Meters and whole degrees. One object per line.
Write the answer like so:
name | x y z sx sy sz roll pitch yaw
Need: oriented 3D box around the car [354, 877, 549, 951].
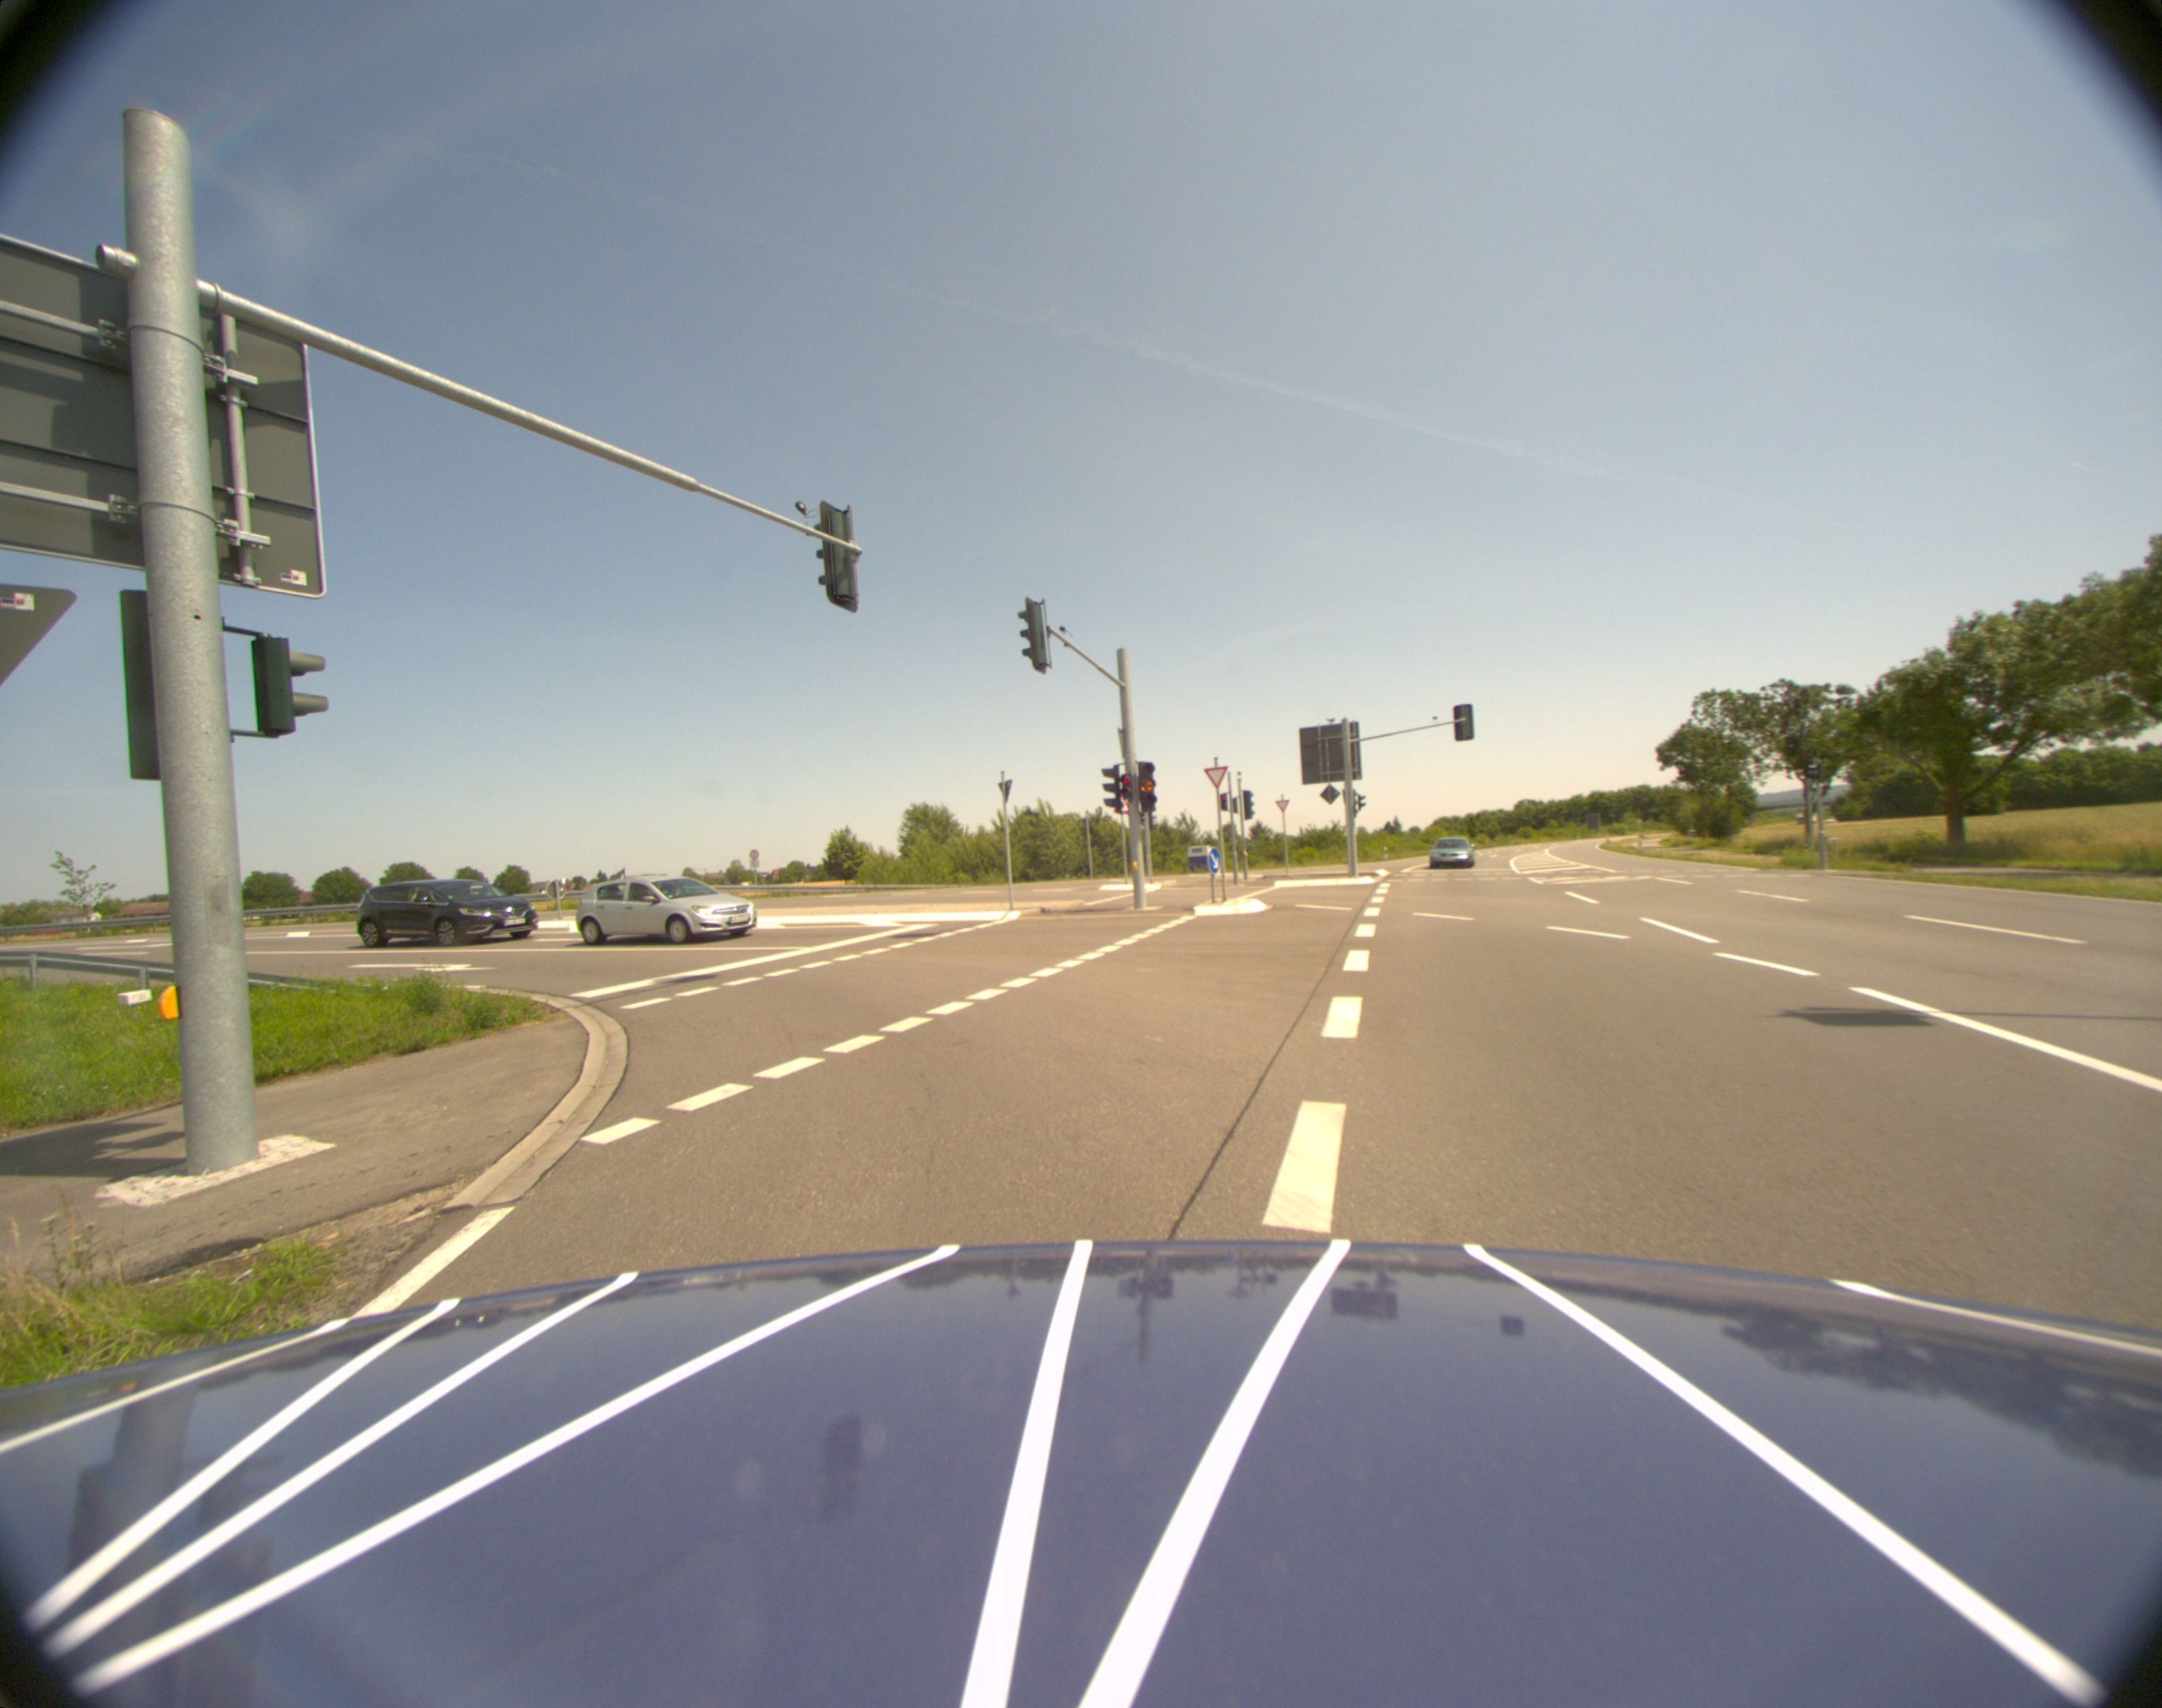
car | -16.194 1.534 19.545 4.517 1.631 1.816 -3 1 22

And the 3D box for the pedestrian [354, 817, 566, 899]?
pedestrian | -16.906 0.073 20.978 1.996 2.002 4.004 -2 1 17

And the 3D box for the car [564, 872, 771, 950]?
car | -9.134 1.253 16.800 4.143 1.451 1.663 -3 1 22

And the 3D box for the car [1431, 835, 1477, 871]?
car | 17.282 -0.076 35.148 1.654 1.557 4.007 -2 0 29
